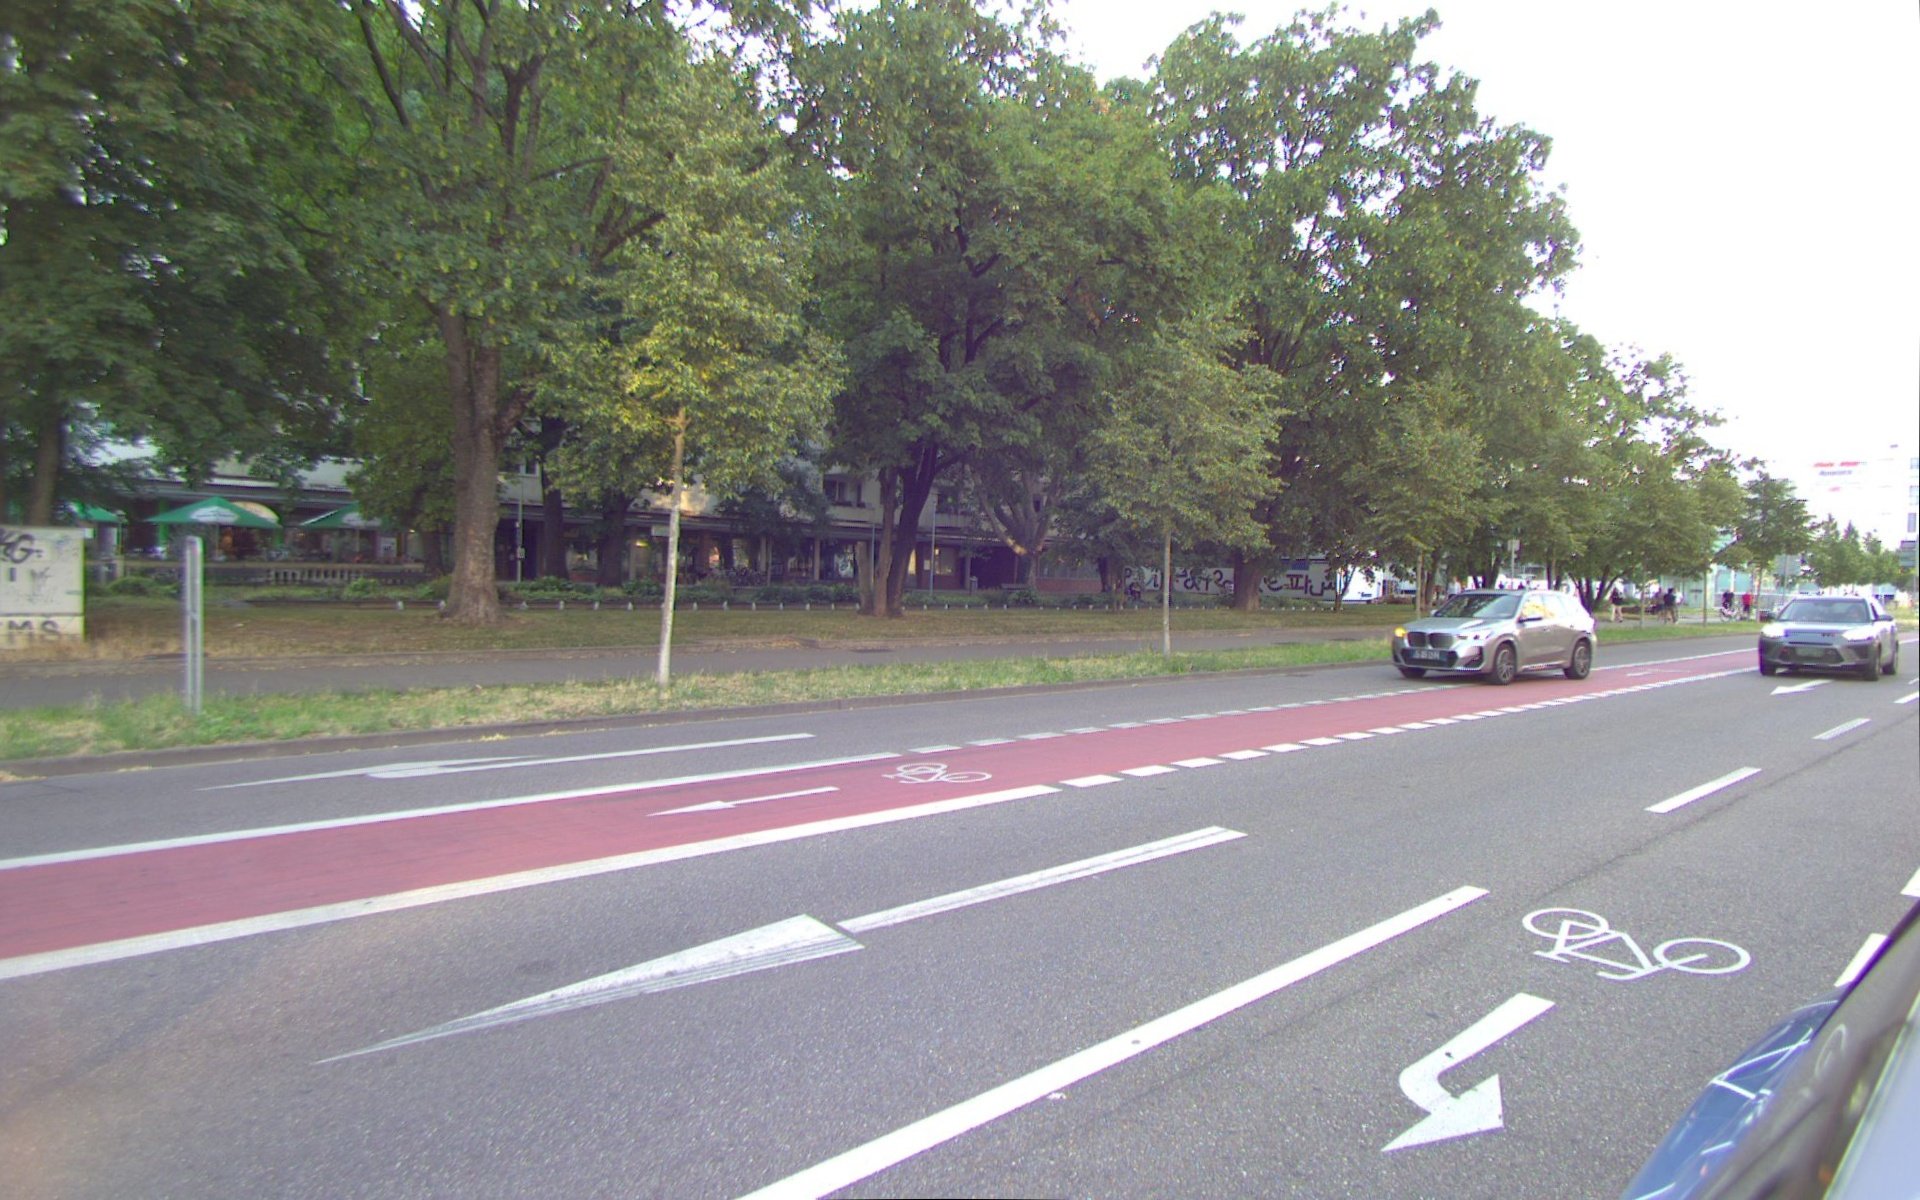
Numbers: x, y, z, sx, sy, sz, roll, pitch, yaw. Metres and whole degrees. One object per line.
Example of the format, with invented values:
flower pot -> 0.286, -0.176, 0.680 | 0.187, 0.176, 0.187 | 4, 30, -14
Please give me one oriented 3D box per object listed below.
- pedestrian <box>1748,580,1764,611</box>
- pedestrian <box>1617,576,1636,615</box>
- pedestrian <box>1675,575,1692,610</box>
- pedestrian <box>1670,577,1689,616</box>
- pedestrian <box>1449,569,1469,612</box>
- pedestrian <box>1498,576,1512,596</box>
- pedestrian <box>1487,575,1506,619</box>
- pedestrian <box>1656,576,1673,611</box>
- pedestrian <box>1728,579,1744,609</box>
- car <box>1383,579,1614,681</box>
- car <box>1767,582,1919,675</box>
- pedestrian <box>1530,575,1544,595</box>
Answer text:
pedestrian -> 46.827, -0.274, 59.534 | 0.497, 1.779, 0.638 | 0, 2, -40
pedestrian -> 31.018, -0.214, 47.120 | 0.707, 1.751, 0.508 | 0, 2, -41
pedestrian -> 36.803, -0.376, 51.497 | 0.707, 1.751, 0.508 | 0, 2, -41
pedestrian -> 33.404, -0.178, 46.995 | 0.546, 1.760, 0.558 | 0, 2, -41
pedestrian -> 18.890, -0.359, 38.312 | 0.513, 1.621, 0.500 | 0, 2, -41
pedestrian -> 38.367, -0.972, 71.251 | 0.669, 1.371, 0.631 | 0, 2, -41
pedestrian -> 19.833, -0.120, 37.413 | 0.359, 1.621, 0.500 | 1, 2, -40
pedestrian -> 36.412, -0.330, 52.318 | 0.707, 1.751, 0.519 | 0, 2, -40
pedestrian -> 46.260, -0.348, 60.323 | 0.497, 1.779, 0.638 | 0, 2, -40
car -> 9.720, 0.479, 18.183 | 4.252, 1.642, 1.828 | 0, 0, -33
car -> 17.819, 0.500, 20.308 | 4.141, 1.647, 1.781 | 0, 1, -41
pedestrian -> 40.023, -1.057, 70.179 | 0.550, 1.371, 0.662 | 0, 2, -40
